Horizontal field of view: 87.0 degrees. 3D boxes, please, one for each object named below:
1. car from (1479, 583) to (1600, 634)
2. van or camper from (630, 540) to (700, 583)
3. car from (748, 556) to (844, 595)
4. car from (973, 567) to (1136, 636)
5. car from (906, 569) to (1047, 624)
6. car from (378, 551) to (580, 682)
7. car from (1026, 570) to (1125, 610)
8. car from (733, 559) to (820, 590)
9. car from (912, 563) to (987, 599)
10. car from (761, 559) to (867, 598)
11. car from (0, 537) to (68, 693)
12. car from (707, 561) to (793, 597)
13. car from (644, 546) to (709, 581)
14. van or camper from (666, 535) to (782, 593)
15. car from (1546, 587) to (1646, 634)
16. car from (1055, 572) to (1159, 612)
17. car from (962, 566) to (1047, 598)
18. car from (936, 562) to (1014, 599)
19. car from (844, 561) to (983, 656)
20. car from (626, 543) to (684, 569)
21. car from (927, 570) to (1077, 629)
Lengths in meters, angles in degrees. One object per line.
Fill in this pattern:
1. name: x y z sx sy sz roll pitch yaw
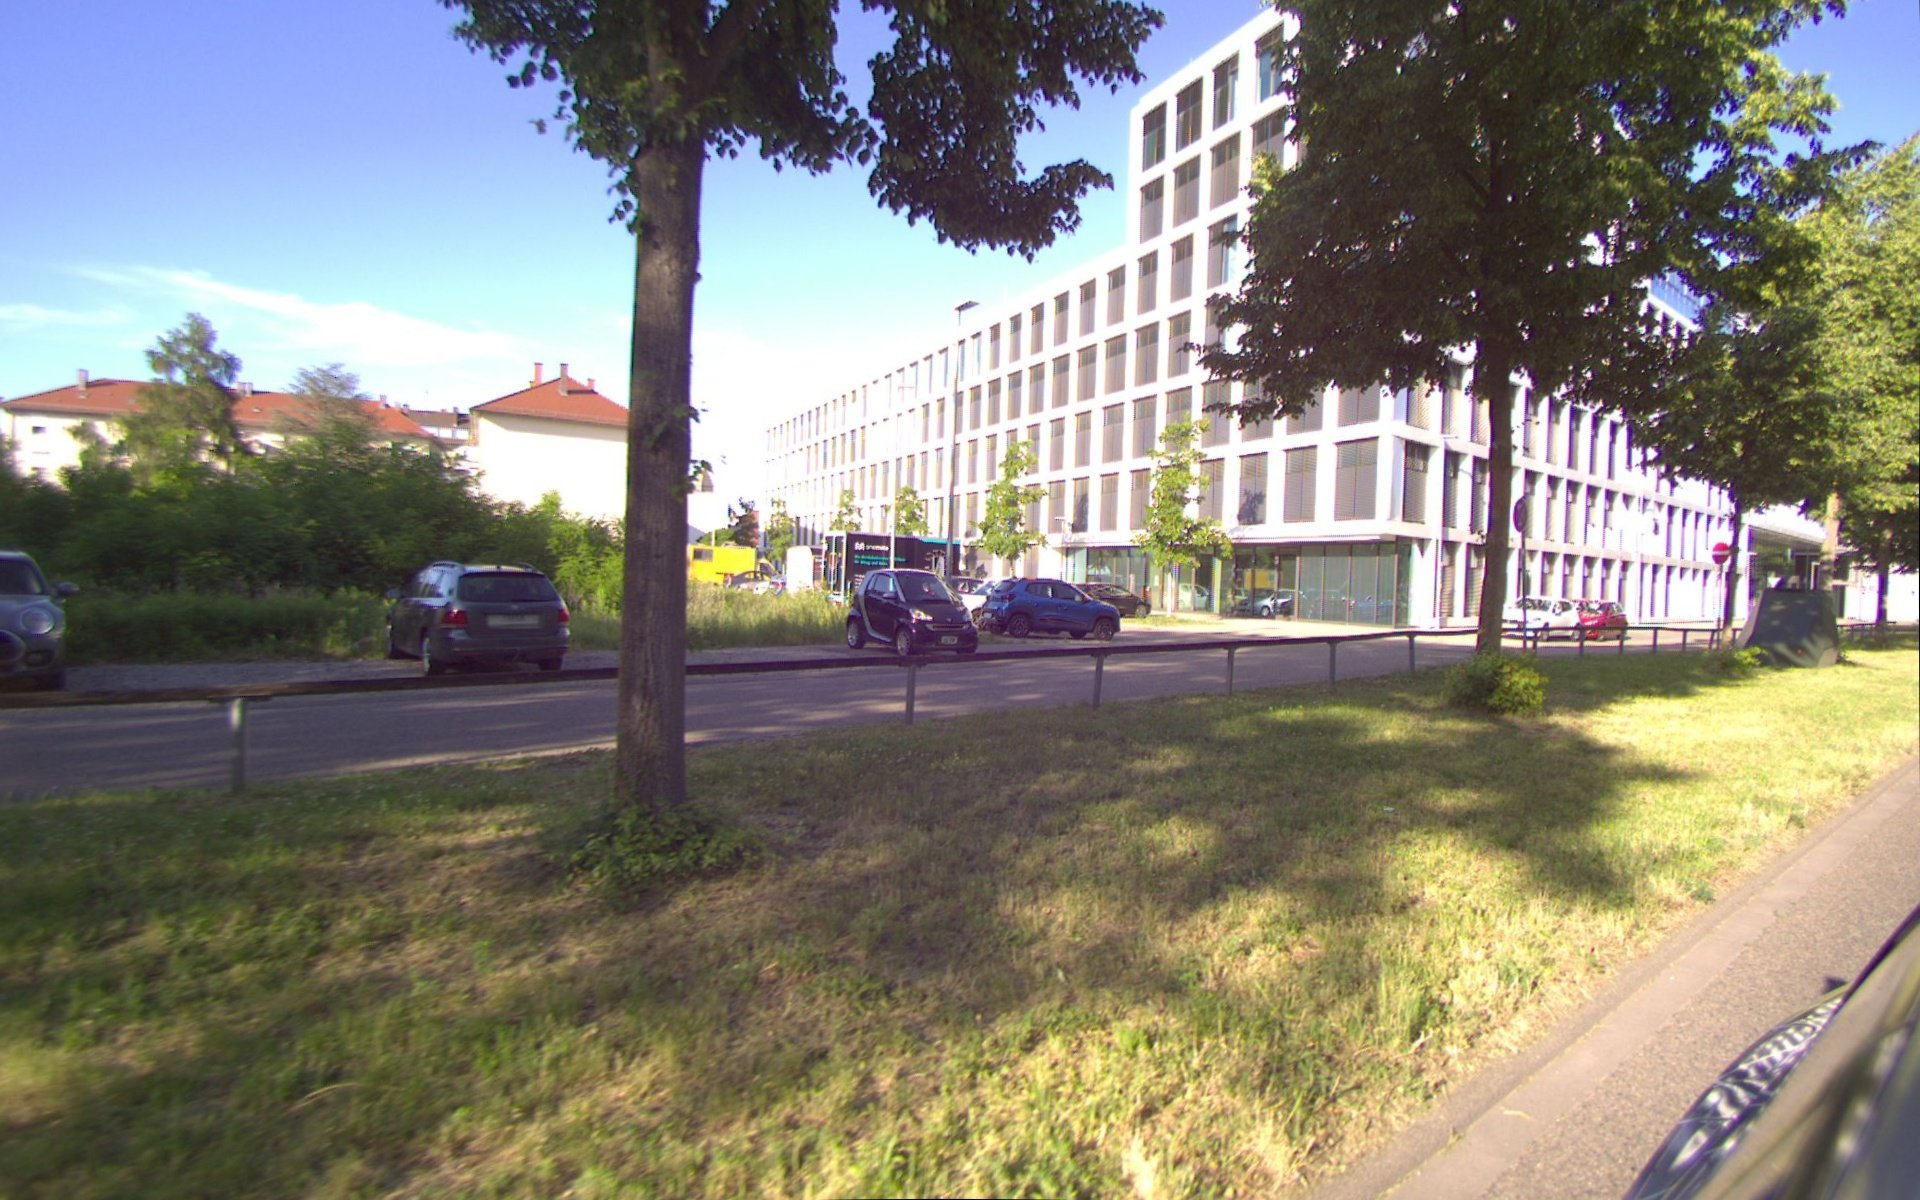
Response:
1. car: 19.809 0.265 34.556 4.321 1.503 2.000 0 5 -38
2. van or camper: -20.836 -2.660 71.483 4.469 2.956 2.003 0 0 -25
3. car: -7.554 -1.094 46.584 3.917 1.638 2.003 2 -1 -25
4. car: 2.393 0.033 25.780 3.739 1.565 1.602 2 1 -21
5. car: 0.497 -0.115 30.407 3.868 1.559 1.726 0 0 -22
6. car: -6.896 0.116 14.284 1.684 1.485 4.091 0 3 -39
7. car: 5.164 -0.445 45.156 3.917 1.705 2.003 0 0 -25
8. car: -9.063 -1.226 50.025 3.917 1.369 1.738 2 -1 -25
9. car: -0.591 -1.114 59.099 3.917 2.039 2.003 0 0 -25
10. car: -6.363 -0.931 44.164 4.184 1.492 1.836 2 0 -25
11. car: -11.090 0.056 11.207 1.752 1.517 4.198 0 3 -42
12. car: -10.812 -1.055 52.005 3.918 1.749 2.004 1 1 -26
13. car: -19.057 -2.437 67.970 3.917 2.245 2.003 0 0 -25
14. van or camper: -12.610 -1.865 54.087 5.732 2.928 2.003 0 0 -28
15. car: 23.617 0.339 37.527 4.197 1.503 1.870 0 5 -40
16. car: 6.190 -0.333 42.601 3.917 1.594 2.003 0 0 -25
17. car: 2.283 -0.901 51.974 3.917 1.616 2.003 0 0 -25
18. car: 0.859 -1.100 57.053 3.917 2.039 2.003 0 0 -25
19. car: -0.923 0.095 18.821 1.433 1.568 2.779 0 3 -31
20. car: -22.389 -3.198 74.240 3.917 1.838 2.004 0 0 -23
21. car: 1.165 -0.015 28.202 3.800 1.555 1.755 0 0 -22
